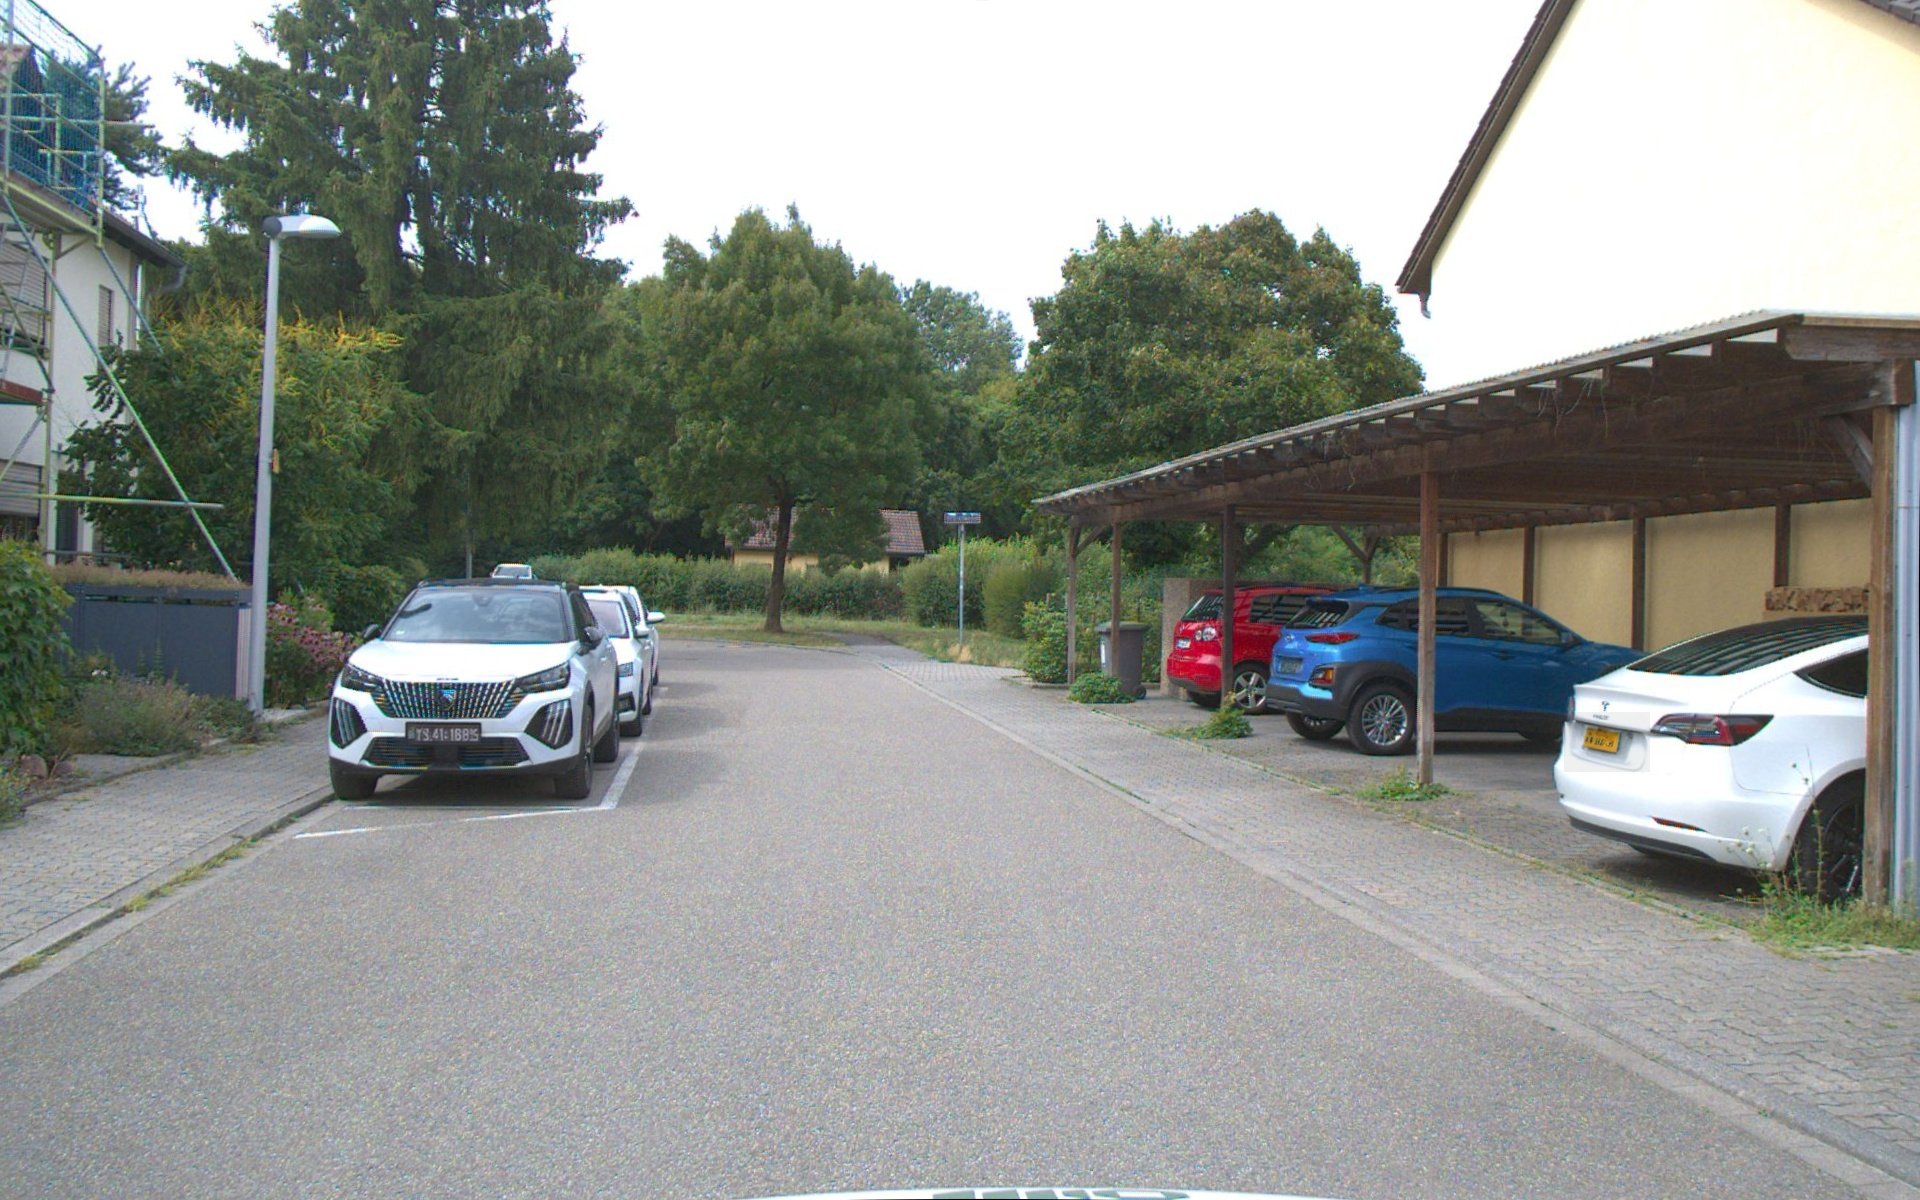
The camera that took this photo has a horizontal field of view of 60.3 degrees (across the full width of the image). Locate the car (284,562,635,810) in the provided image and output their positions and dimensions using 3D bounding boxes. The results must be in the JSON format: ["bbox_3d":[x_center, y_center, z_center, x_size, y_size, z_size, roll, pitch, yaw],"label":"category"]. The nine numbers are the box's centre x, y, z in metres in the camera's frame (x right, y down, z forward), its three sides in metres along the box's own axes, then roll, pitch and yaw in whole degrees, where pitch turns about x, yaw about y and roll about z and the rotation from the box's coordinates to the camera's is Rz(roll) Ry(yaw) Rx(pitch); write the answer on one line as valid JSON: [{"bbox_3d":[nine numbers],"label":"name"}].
[{"bbox_3d":[-3.673,0.544,12.994,1.897,1.583,4.626,1,0,-8],"label":"car"}]

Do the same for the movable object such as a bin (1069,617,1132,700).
[{"bbox_3d":[1.902,0.788,22.459,0.686,1.091,0.709,0,0,-12],"label":"movable object such as a bin"}]

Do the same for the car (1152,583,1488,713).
[{"bbox_3d":[4.649,0.607,21.622,3.886,1.567,1.834,1,0,-11],"label":"car"}]

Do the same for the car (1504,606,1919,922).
[{"bbox_3d":[5.545,0.817,9.176,4.369,1.458,2.022,1,0,-11],"label":"car"}]

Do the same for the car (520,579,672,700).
[{"bbox_3d":[-5.128,0.504,23.736,1.758,1.558,4.133,1,0,-8],"label":"car"}]

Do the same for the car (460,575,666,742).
[{"bbox_3d":[-4.249,0.544,18.358,1.776,1.589,4.838,1,0,-9],"label":"car"}]

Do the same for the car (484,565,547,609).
[{"bbox_3d":[-18.233,-0.554,67.984,1.901,1.689,4.333,2,0,-8],"label":"car"}]

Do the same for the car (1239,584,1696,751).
[{"bbox_3d":[5.054,0.658,16.715,3.974,1.549,1.945,1,0,-11],"label":"car"}]
